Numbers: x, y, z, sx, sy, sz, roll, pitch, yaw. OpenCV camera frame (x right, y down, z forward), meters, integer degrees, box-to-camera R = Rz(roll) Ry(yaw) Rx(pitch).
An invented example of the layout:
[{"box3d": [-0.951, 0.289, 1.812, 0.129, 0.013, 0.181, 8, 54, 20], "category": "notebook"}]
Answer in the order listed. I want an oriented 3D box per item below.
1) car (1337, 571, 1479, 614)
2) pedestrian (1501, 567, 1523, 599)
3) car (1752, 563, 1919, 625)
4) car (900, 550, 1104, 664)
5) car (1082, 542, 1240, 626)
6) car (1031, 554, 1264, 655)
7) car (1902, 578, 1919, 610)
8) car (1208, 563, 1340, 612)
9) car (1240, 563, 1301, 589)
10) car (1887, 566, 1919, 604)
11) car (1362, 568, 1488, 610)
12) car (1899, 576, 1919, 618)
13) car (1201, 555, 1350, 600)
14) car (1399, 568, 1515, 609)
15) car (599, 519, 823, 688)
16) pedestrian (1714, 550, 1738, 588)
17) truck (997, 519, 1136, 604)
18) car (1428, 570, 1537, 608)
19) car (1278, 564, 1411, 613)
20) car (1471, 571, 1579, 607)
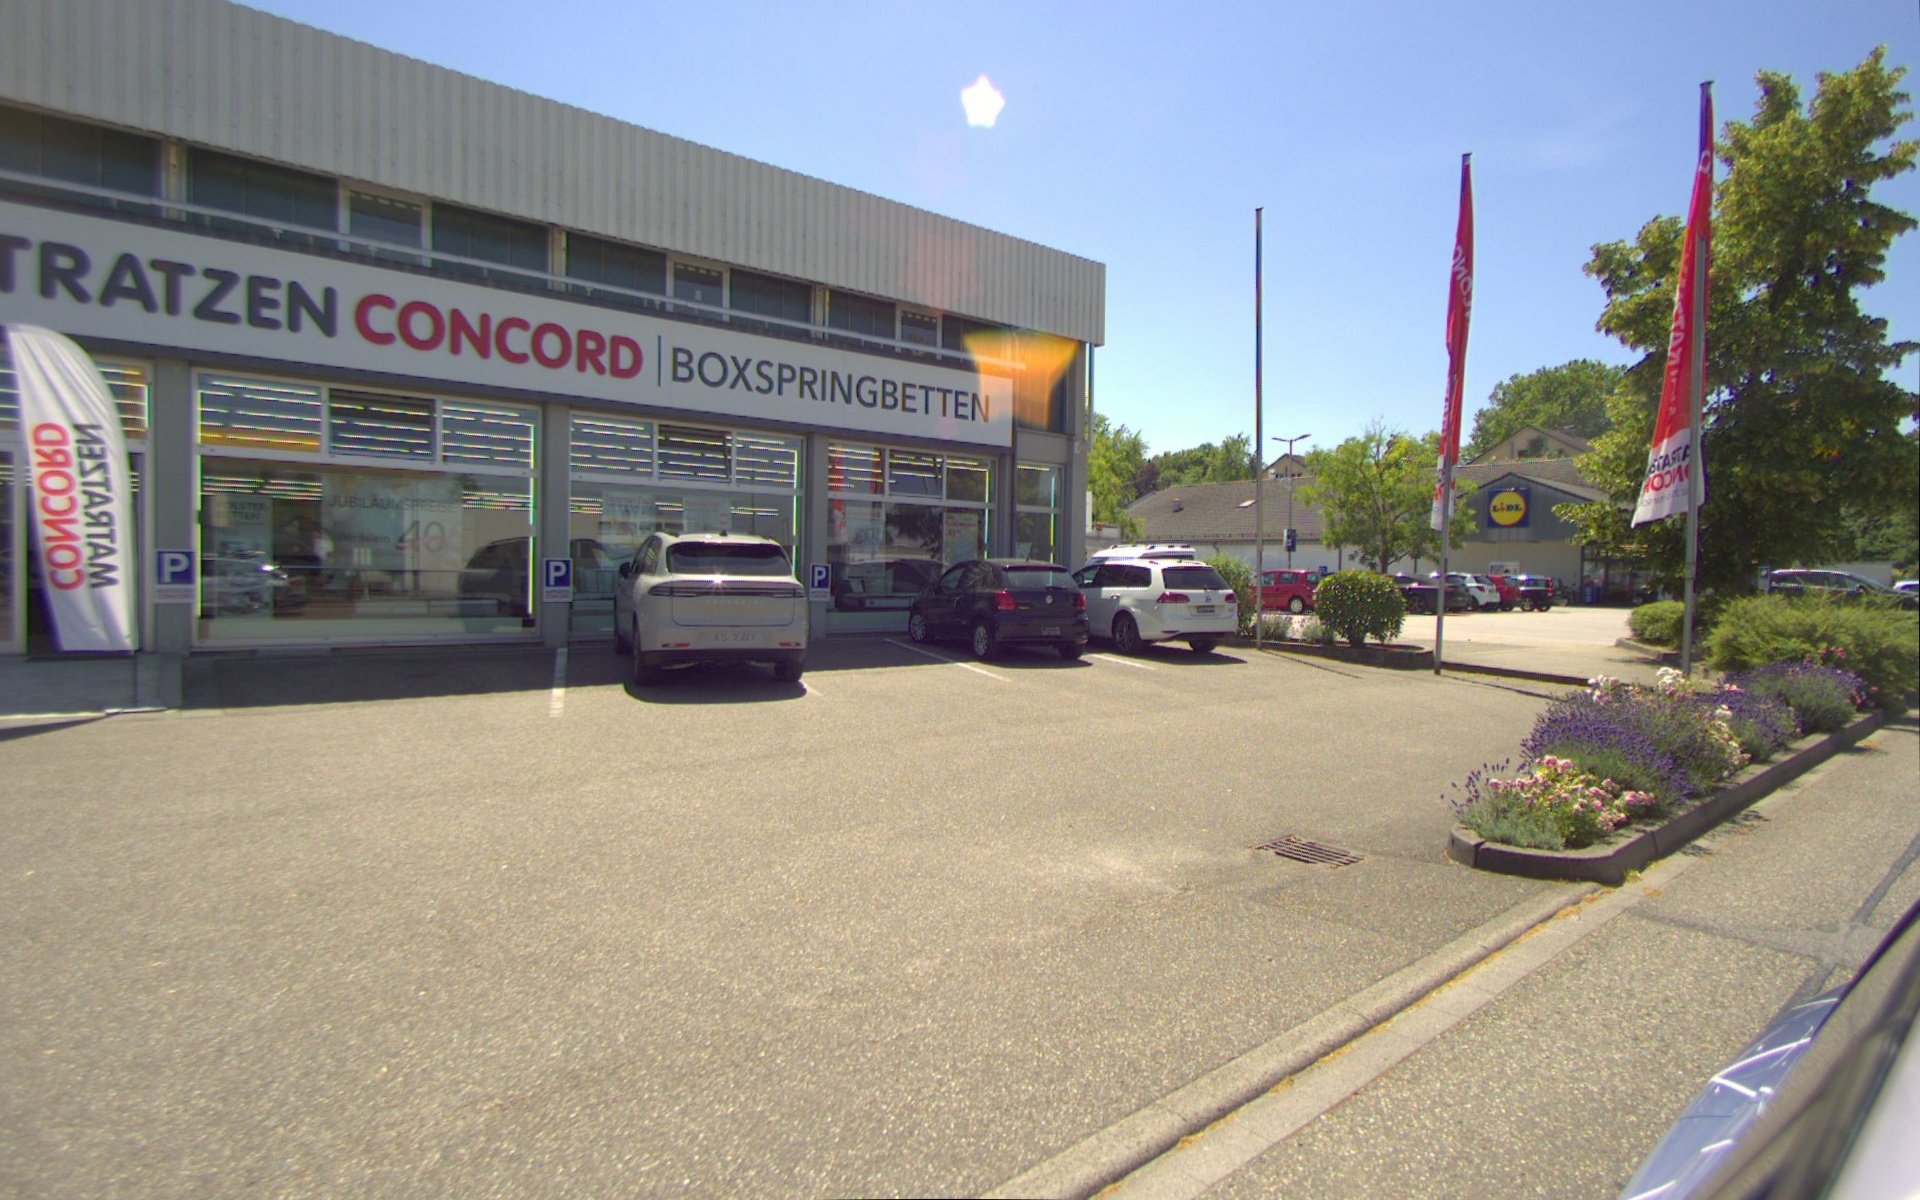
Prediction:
[{"box3d": [15.862, -0.326, 35.969, 1.868, 1.408, 4.251, -2, 2, -40], "category": "car"}, {"box3d": [27.352, -0.856, 50.160, 0.549, 1.571, 0.803, -1, 2, -39], "category": "pedestrian"}, {"box3d": [26.057, -0.208, 29.331, 1.858, 1.688, 4.531, -1, 2, -33], "category": "car"}, {"box3d": [0.512, 0.000, 15.843, 1.643, 1.551, 3.875, -1, 3, -24], "category": "car"}, {"box3d": [5.035, -0.441, 25.070, 4.184, 1.914, 1.708, -2, 2, -42], "category": "car"}, {"box3d": [2.958, -0.021, 16.876, 1.768, 1.478, 4.007, -1, 2, -26], "category": "car"}, {"box3d": [43.865, -0.250, 43.875, 1.919, 1.428, 4.238, -1, 2, -40], "category": "car"}, {"box3d": [10.560, -0.429, 34.220, 1.624, 1.551, 3.991, -2, 1, -43], "category": "car"}, {"box3d": [19.748, -1.540, 64.300, 3.932, 1.571, 1.997, 0, 3, -42], "category": "car"}, {"box3d": [39.740, -0.579, 40.070, 1.778, 1.499, 4.319, -1, 2, -40], "category": "car"}, {"box3d": [17.549, -0.416, 38.338, 1.696, 1.495, 4.029, -1, 1, -37], "category": "car"}, {"box3d": [36.275, -0.088, 36.443, 1.554, 1.525, 3.405, 0, 2, -40], "category": "car"}, {"box3d": [12.594, -0.950, 40.724, 1.965, 1.662, 5.524, -1, 2, -41], "category": "car"}, {"box3d": [19.540, -0.457, 39.893, 1.785, 1.523, 3.732, -1, 1, -38], "category": "car"}, {"box3d": [-3.263, -0.065, 12.497, 1.958, 1.662, 4.606, -1, 2, -23], "category": "car"}, {"box3d": [35.988, -1.469, 47.517, 0.770, 1.775, 0.700, -1, 2, -37], "category": "pedestrian"}, {"box3d": [3.931, -1.454, 38.722, 2.373, 2.985, 5.963, 0, 2, -27], "category": "truck"}, {"box3d": [21.322, -0.453, 41.411, 1.714, 1.476, 3.606, -1, 1, -38], "category": "car"}, {"box3d": [13.367, -0.416, 35.351, 1.776, 1.582, 4.029, -2, 1, -39], "category": "car"}, {"box3d": [23.606, -0.483, 42.340, 1.641, 1.434, 3.606, -1, 1, -38], "category": "car"}]
